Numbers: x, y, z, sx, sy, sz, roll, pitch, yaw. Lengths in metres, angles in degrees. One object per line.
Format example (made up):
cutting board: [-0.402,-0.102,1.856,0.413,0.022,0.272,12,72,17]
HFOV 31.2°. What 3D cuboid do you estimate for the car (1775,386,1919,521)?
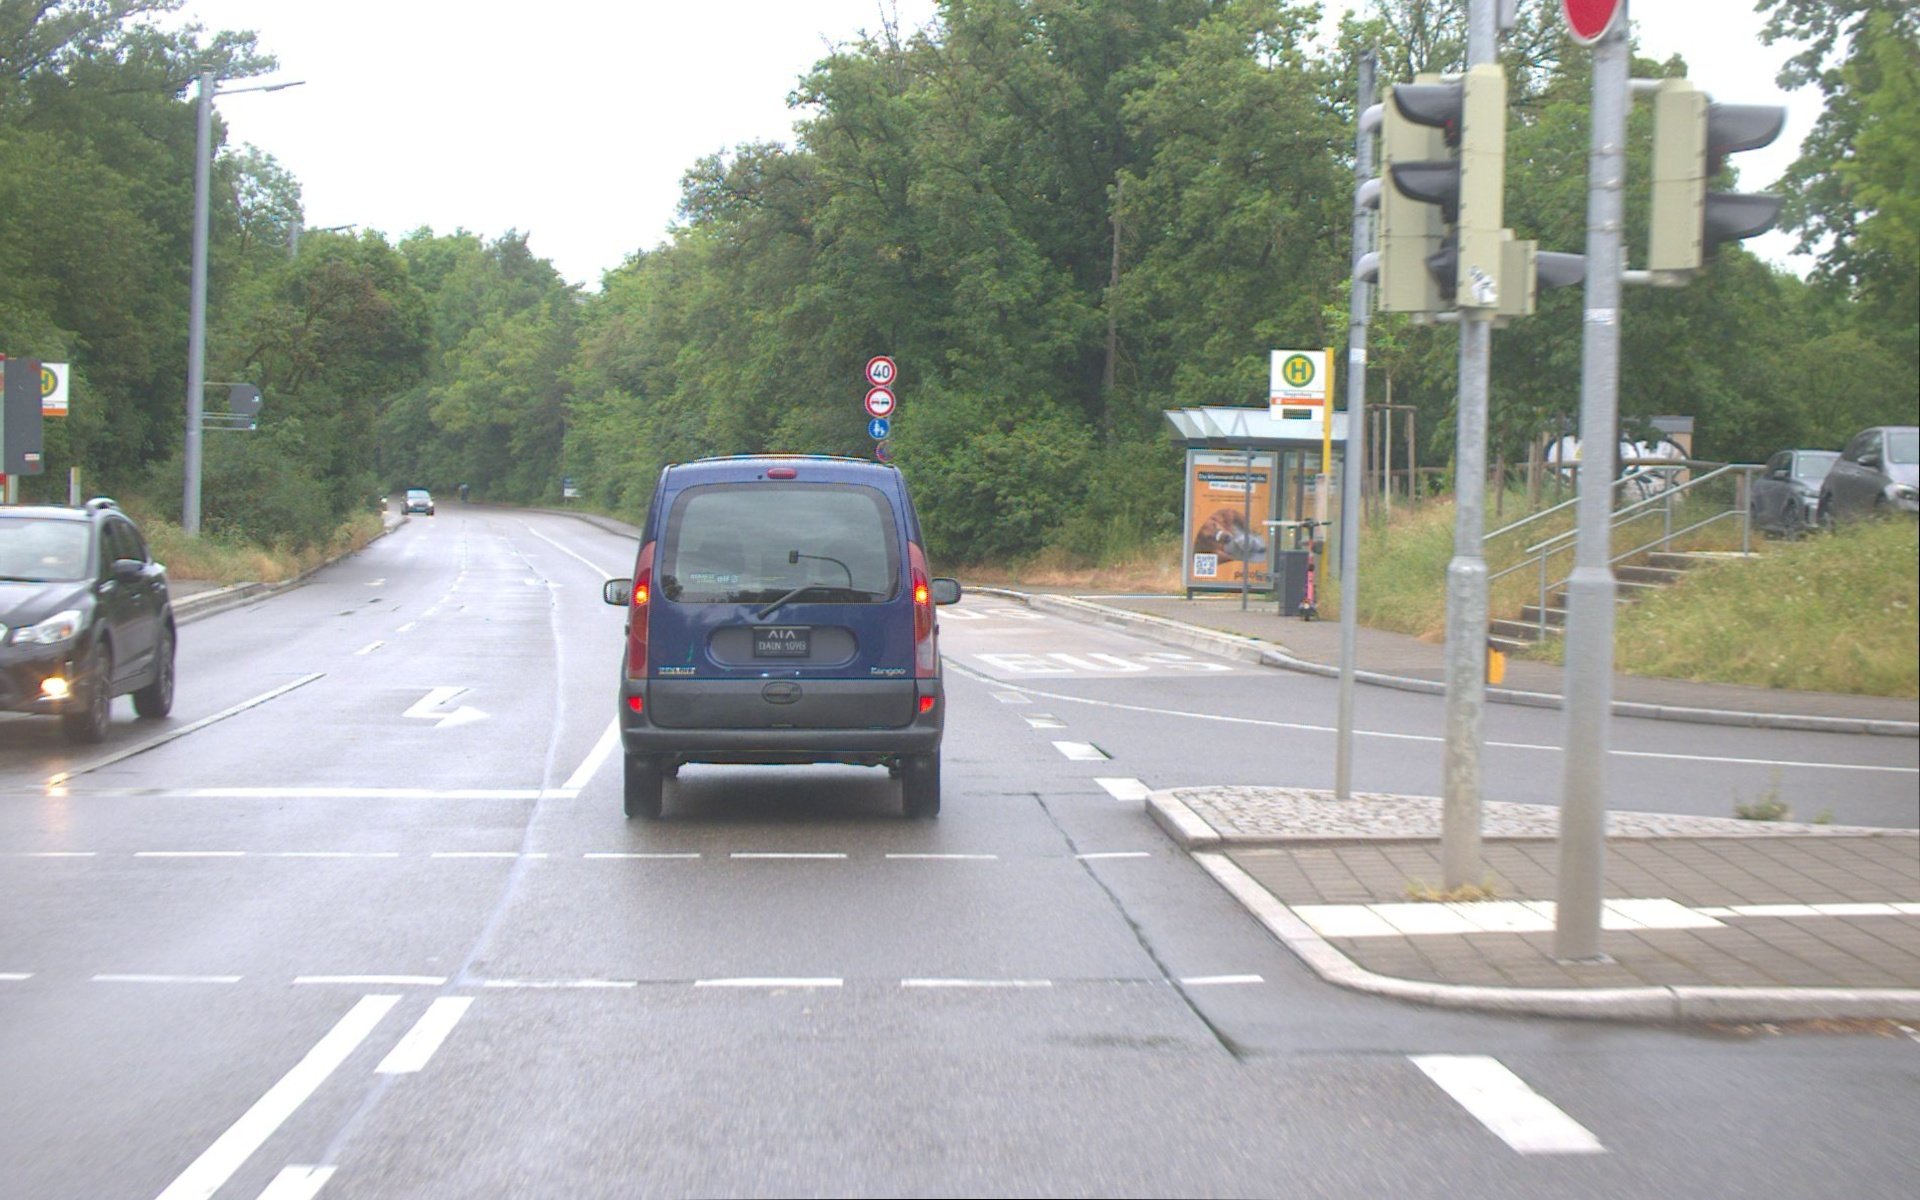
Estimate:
car: [11.877,-1.789,43.068,1.993,1.475,4.285,3,1,-3]

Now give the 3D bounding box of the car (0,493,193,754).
car: [-6.451,0.071,23.127,1.789,1.576,4.562,1,2,-3]

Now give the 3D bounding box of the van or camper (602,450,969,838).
van or camper: [-1.024,0.160,18.678,1.712,1.819,4.001,2,1,-5]

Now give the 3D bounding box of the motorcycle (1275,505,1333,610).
motorcycle: [4.305,-0.543,42.943,0.589,1.284,1.537,1,2,10]

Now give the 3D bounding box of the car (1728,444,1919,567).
car: [14.966,-1.649,59.664,1.993,2.006,4.001,1,2,-5]
